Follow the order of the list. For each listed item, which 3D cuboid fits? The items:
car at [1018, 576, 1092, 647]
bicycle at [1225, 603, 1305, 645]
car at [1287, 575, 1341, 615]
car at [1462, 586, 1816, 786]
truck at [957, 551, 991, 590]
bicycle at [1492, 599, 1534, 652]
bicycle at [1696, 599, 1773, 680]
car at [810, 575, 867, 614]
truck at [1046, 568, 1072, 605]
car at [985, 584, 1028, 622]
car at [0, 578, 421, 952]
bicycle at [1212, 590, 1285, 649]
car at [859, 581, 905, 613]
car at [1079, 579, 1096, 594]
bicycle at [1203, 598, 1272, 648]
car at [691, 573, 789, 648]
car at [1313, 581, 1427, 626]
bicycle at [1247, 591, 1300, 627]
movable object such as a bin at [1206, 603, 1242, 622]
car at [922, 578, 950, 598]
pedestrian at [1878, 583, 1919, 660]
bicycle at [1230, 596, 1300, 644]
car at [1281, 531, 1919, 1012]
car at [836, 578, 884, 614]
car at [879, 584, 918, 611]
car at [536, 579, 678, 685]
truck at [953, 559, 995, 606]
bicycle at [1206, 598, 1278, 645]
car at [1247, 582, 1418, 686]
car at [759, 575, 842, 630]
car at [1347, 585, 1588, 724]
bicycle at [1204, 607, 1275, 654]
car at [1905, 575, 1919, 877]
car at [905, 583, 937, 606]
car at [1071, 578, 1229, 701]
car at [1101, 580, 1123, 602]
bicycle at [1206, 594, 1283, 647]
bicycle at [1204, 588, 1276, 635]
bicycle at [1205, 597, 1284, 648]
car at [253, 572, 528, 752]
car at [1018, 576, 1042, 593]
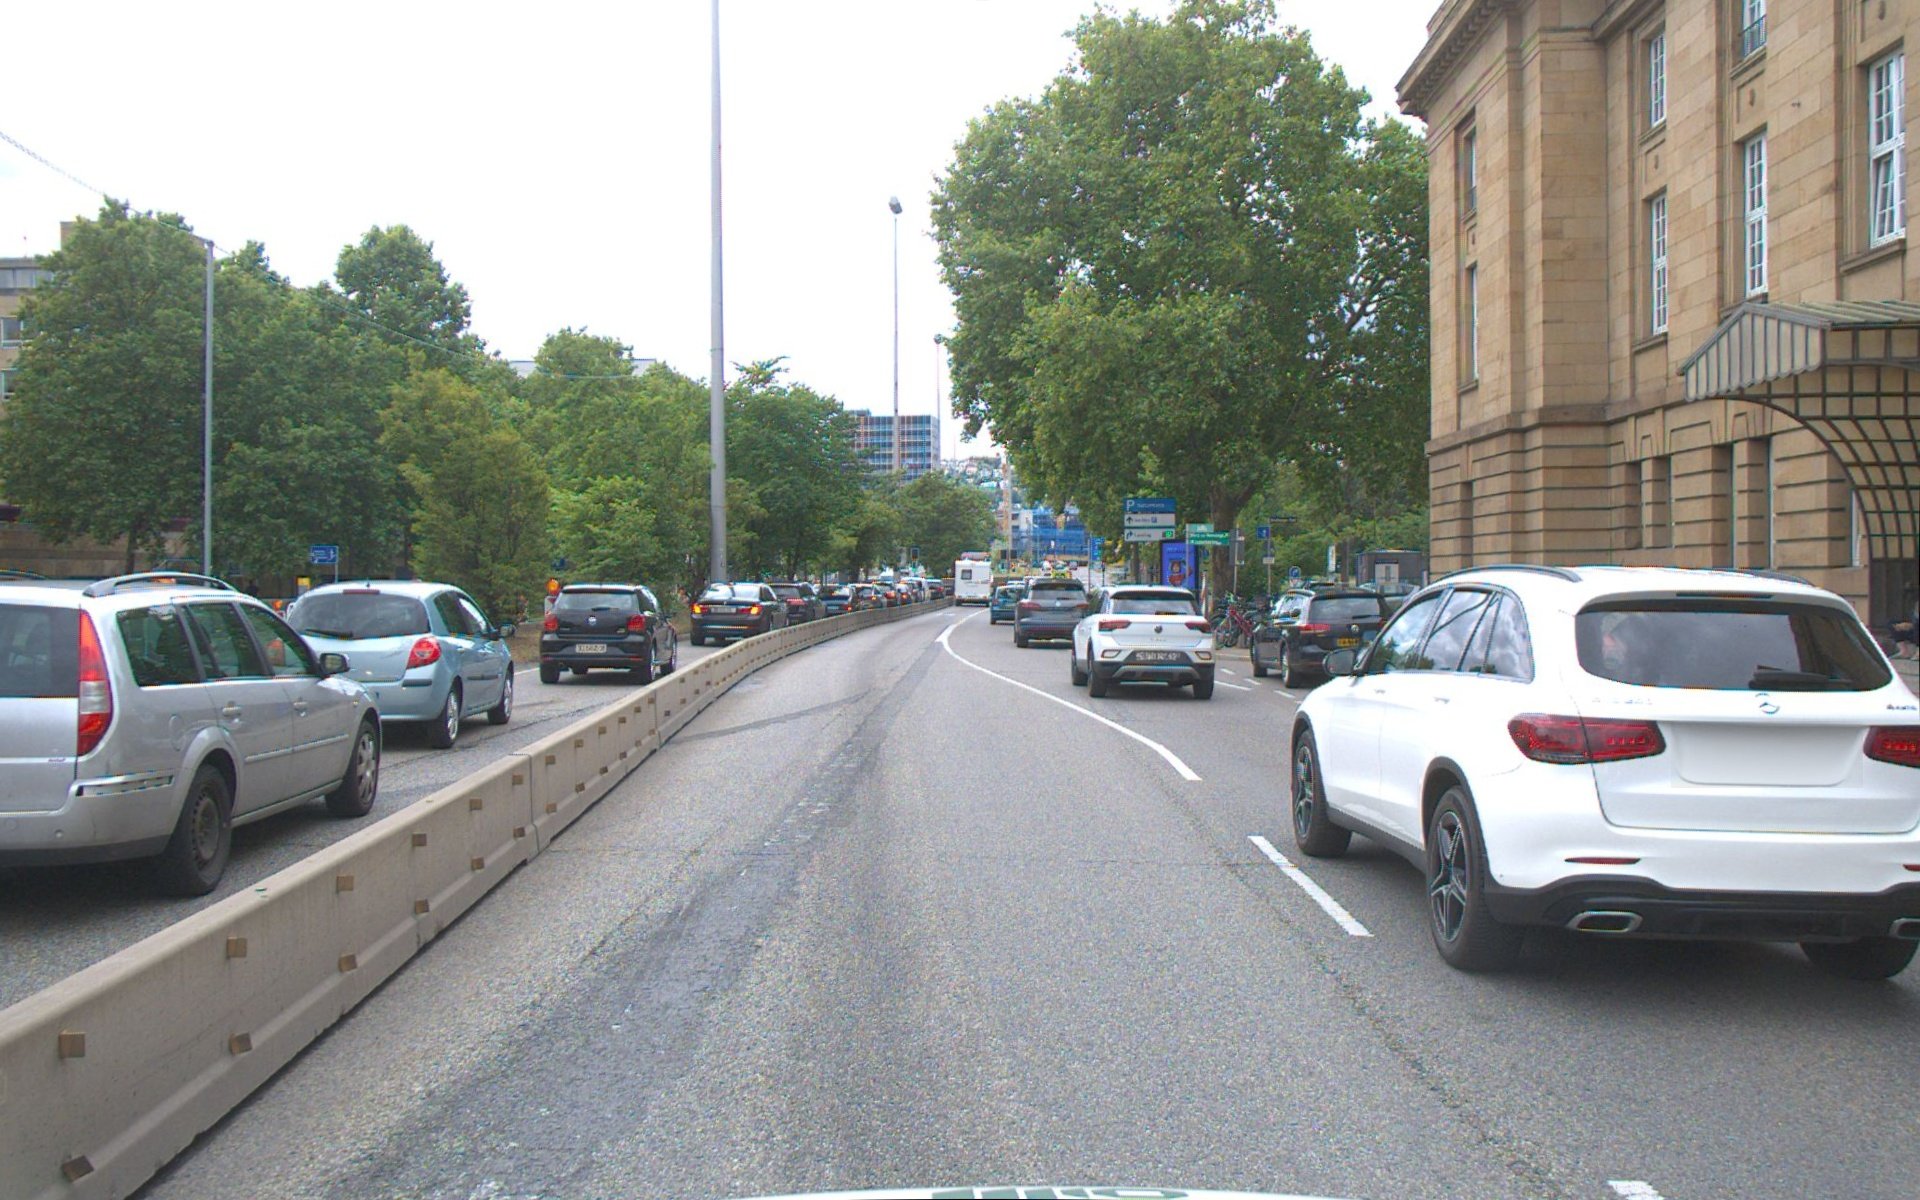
[{"bbox_3d":[2.329,0.270,41.141,1.625,1.668,3.547,1,0,0],"label":"car"},{"bbox_3d":[6.927,0.535,37.566,1.692,0.933,0.614,0,0,21],"label":"bicycle"},{"bbox_3d":[15.482,-0.248,72.431,1.723,1.578,4.029,0,3,4],"label":"car"},{"bbox_3d":[5.743,0.643,14.496,1.582,1.480,3.859,-1,0,2],"label":"car"},{"bbox_3d":[1.200,-2.465,138.574,2.636,3.044,5.639,2,0,2],"label":"truck"},{"bbox_3d":[11.055,0.492,33.090,0.235,1.015,1.963,0,0,2],"label":"bicycle"},{"bbox_3d":[10.612,0.516,22.709,0.217,1.047,1.860,1,1,2],"label":"bicycle"},{"bbox_3d":[-4.539,-0.220,62.252,1.643,1.390,4.544,0,1,2],"label":"car"},{"bbox_3d":[11.426,-1.532,190.657,2.817,4.174,6.640,1,0,2],"label":"truck"},{"bbox_3d":[1.825,0.112,64.592,1.624,1.438,3.548,1,0,2],"label":"car"},{"bbox_3d":[-4.467,0.648,8.962,1.841,1.507,4.700,1,0,-4],"label":"car"},{"bbox_3d":[6.480,0.424,37.169,1.510,1.278,0.543,1,0,21],"label":"bicycle"},{"bbox_3d":[-3.609,-0.159,76.974,1.739,1.445,4.002,0,1,3],"label":"car"},{"bbox_3d":[13.857,-1.473,180.152,1.722,1.698,4.170,0,1,3],"label":"car"},{"bbox_3d":[6.474,0.540,38.595,1.588,1.150,0.467,1,0,-24],"label":"bicycle"},{"bbox_3d":[-5.197,0.233,39.687,1.885,1.664,4.934,1,0,-3],"label":"car"},{"bbox_3d":[14.809,0.115,59.853,3.756,1.596,1.680,0,0,2],"label":"car"},{"bbox_3d":[10.748,0.310,56.703,1.747,1.242,0.492,0,0,5],"label":"bicycle"},{"bbox_3d":[9.509,0.455,59.555,1.271,0.663,0.729,2,-1,11],"label":"movable object such as a bin"},{"bbox_3d":[-1.639,-0.804,114.479,1.624,1.342,3.549,1,0,4],"label":"car"},{"bbox_3d":[11.051,0.251,19.326,0.420,0.889,0.373,2,0,3],"label":"pedestrian"},{"bbox_3d":[6.953,0.450,37.727,1.530,1.046,0.436,1,0,14],"label":"bicycle"},{"bbox_3d":[2.887,0.601,8.035,1.751,1.653,4.437,2,0,0],"label":"car"},{"bbox_3d":[-4.158,-0.164,69.193,1.627,1.461,3.961,1,0,2],"label":"car"},{"bbox_3d":[-3.116,-0.148,84.819,1.624,1.342,3.549,1,0,4],"label":"car"},{"bbox_3d":[-5.331,0.441,25.402,1.627,1.479,4.193,1,0,-5],"label":"car"},{"bbox_3d":[0.984,-1.153,109.494,2.566,2.911,7.080,1,1,2],"label":"truck"},{"bbox_3d":[6.842,0.515,40.144,1.691,1.110,0.575,1,0,11],"label":"bicycle"},{"bbox_3d":[5.879,0.496,26.614,1.751,1.512,4.325,1,0,0],"label":"car"},{"bbox_3d":[-4.633,0.054,48.630,1.778,1.525,4.770,0,0,2],"label":"car"},{"bbox_3d":[5.871,0.573,19.613,1.673,1.451,3.997,-1,0,1],"label":"car"},{"bbox_3d":[6.943,0.751,41.065,1.691,1.110,0.426,1,0,15],"label":"bicycle"},{"bbox_3d":[5.640,0.638,6.771,1.513,1.579,3.710,-3,0,3],"label":"car"},{"bbox_3d":[-2.370,-0.343,100.389,1.624,1.342,3.549,1,0,4],"label":"car"},{"bbox_3d":[2.703,0.528,24.275,1.759,1.636,3.753,1,0,-2],"label":"car"},{"bbox_3d":[14.055,-0.825,153.168,1.952,2.049,4.002,1,0,4],"label":"car"},{"bbox_3d":[6.830,0.489,39.690,1.722,1.230,0.604,1,0,-1],"label":"bicycle"},{"bbox_3d":[6.858,0.285,40.534,1.691,1.110,0.381,1,0,15],"label":"bicycle"},{"bbox_3d":[6.307,0.499,36.687,1.628,1.093,0.585,1,0,22],"label":"bicycle"},{"bbox_3d":[-5.394,0.529,16.154,1.640,1.533,3.850,1,0,-5],"label":"car"},{"bbox_3d":[5.941,-1.290,140.024,1.906,1.342,4.018,1,0,4],"label":"car"}]
